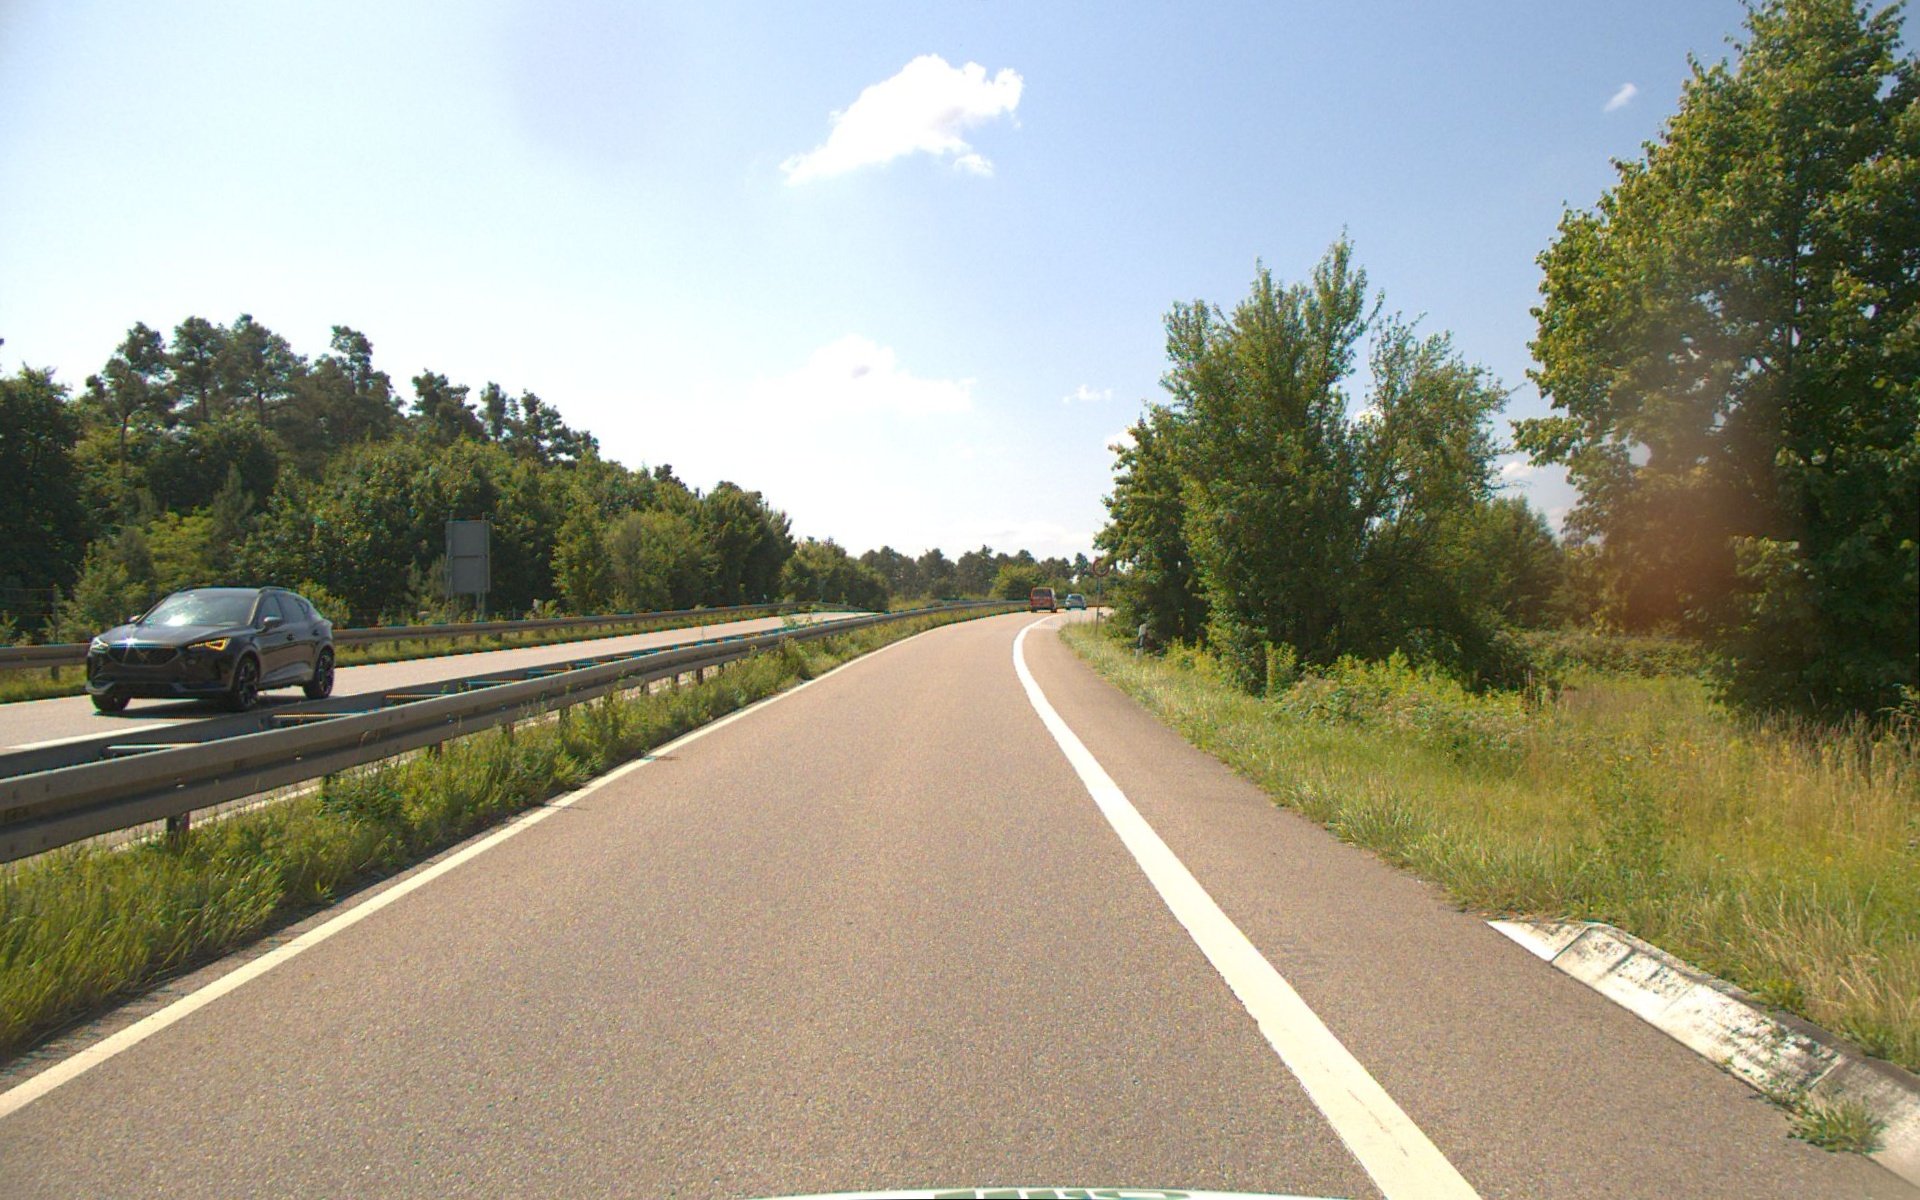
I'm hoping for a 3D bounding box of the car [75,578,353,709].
[{"bbox_3d":[-9.642,0.507,21.812,1.720,1.527,4.572,1,0,-2],"label":"car"}]

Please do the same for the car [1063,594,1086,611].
[{"bbox_3d":[10.862,0.236,156.672,1.964,1.520,4.241,1,-1,7],"label":"car"}]

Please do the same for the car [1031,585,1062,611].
[{"bbox_3d":[6.967,-0.120,132.659,2.033,2.028,5.115,1,-1,7],"label":"car"}]

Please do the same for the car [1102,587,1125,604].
[{"bbox_3d":[19.288,-0.588,207.823,2.138,1.989,5.808,1,-1,13],"label":"car"}]
